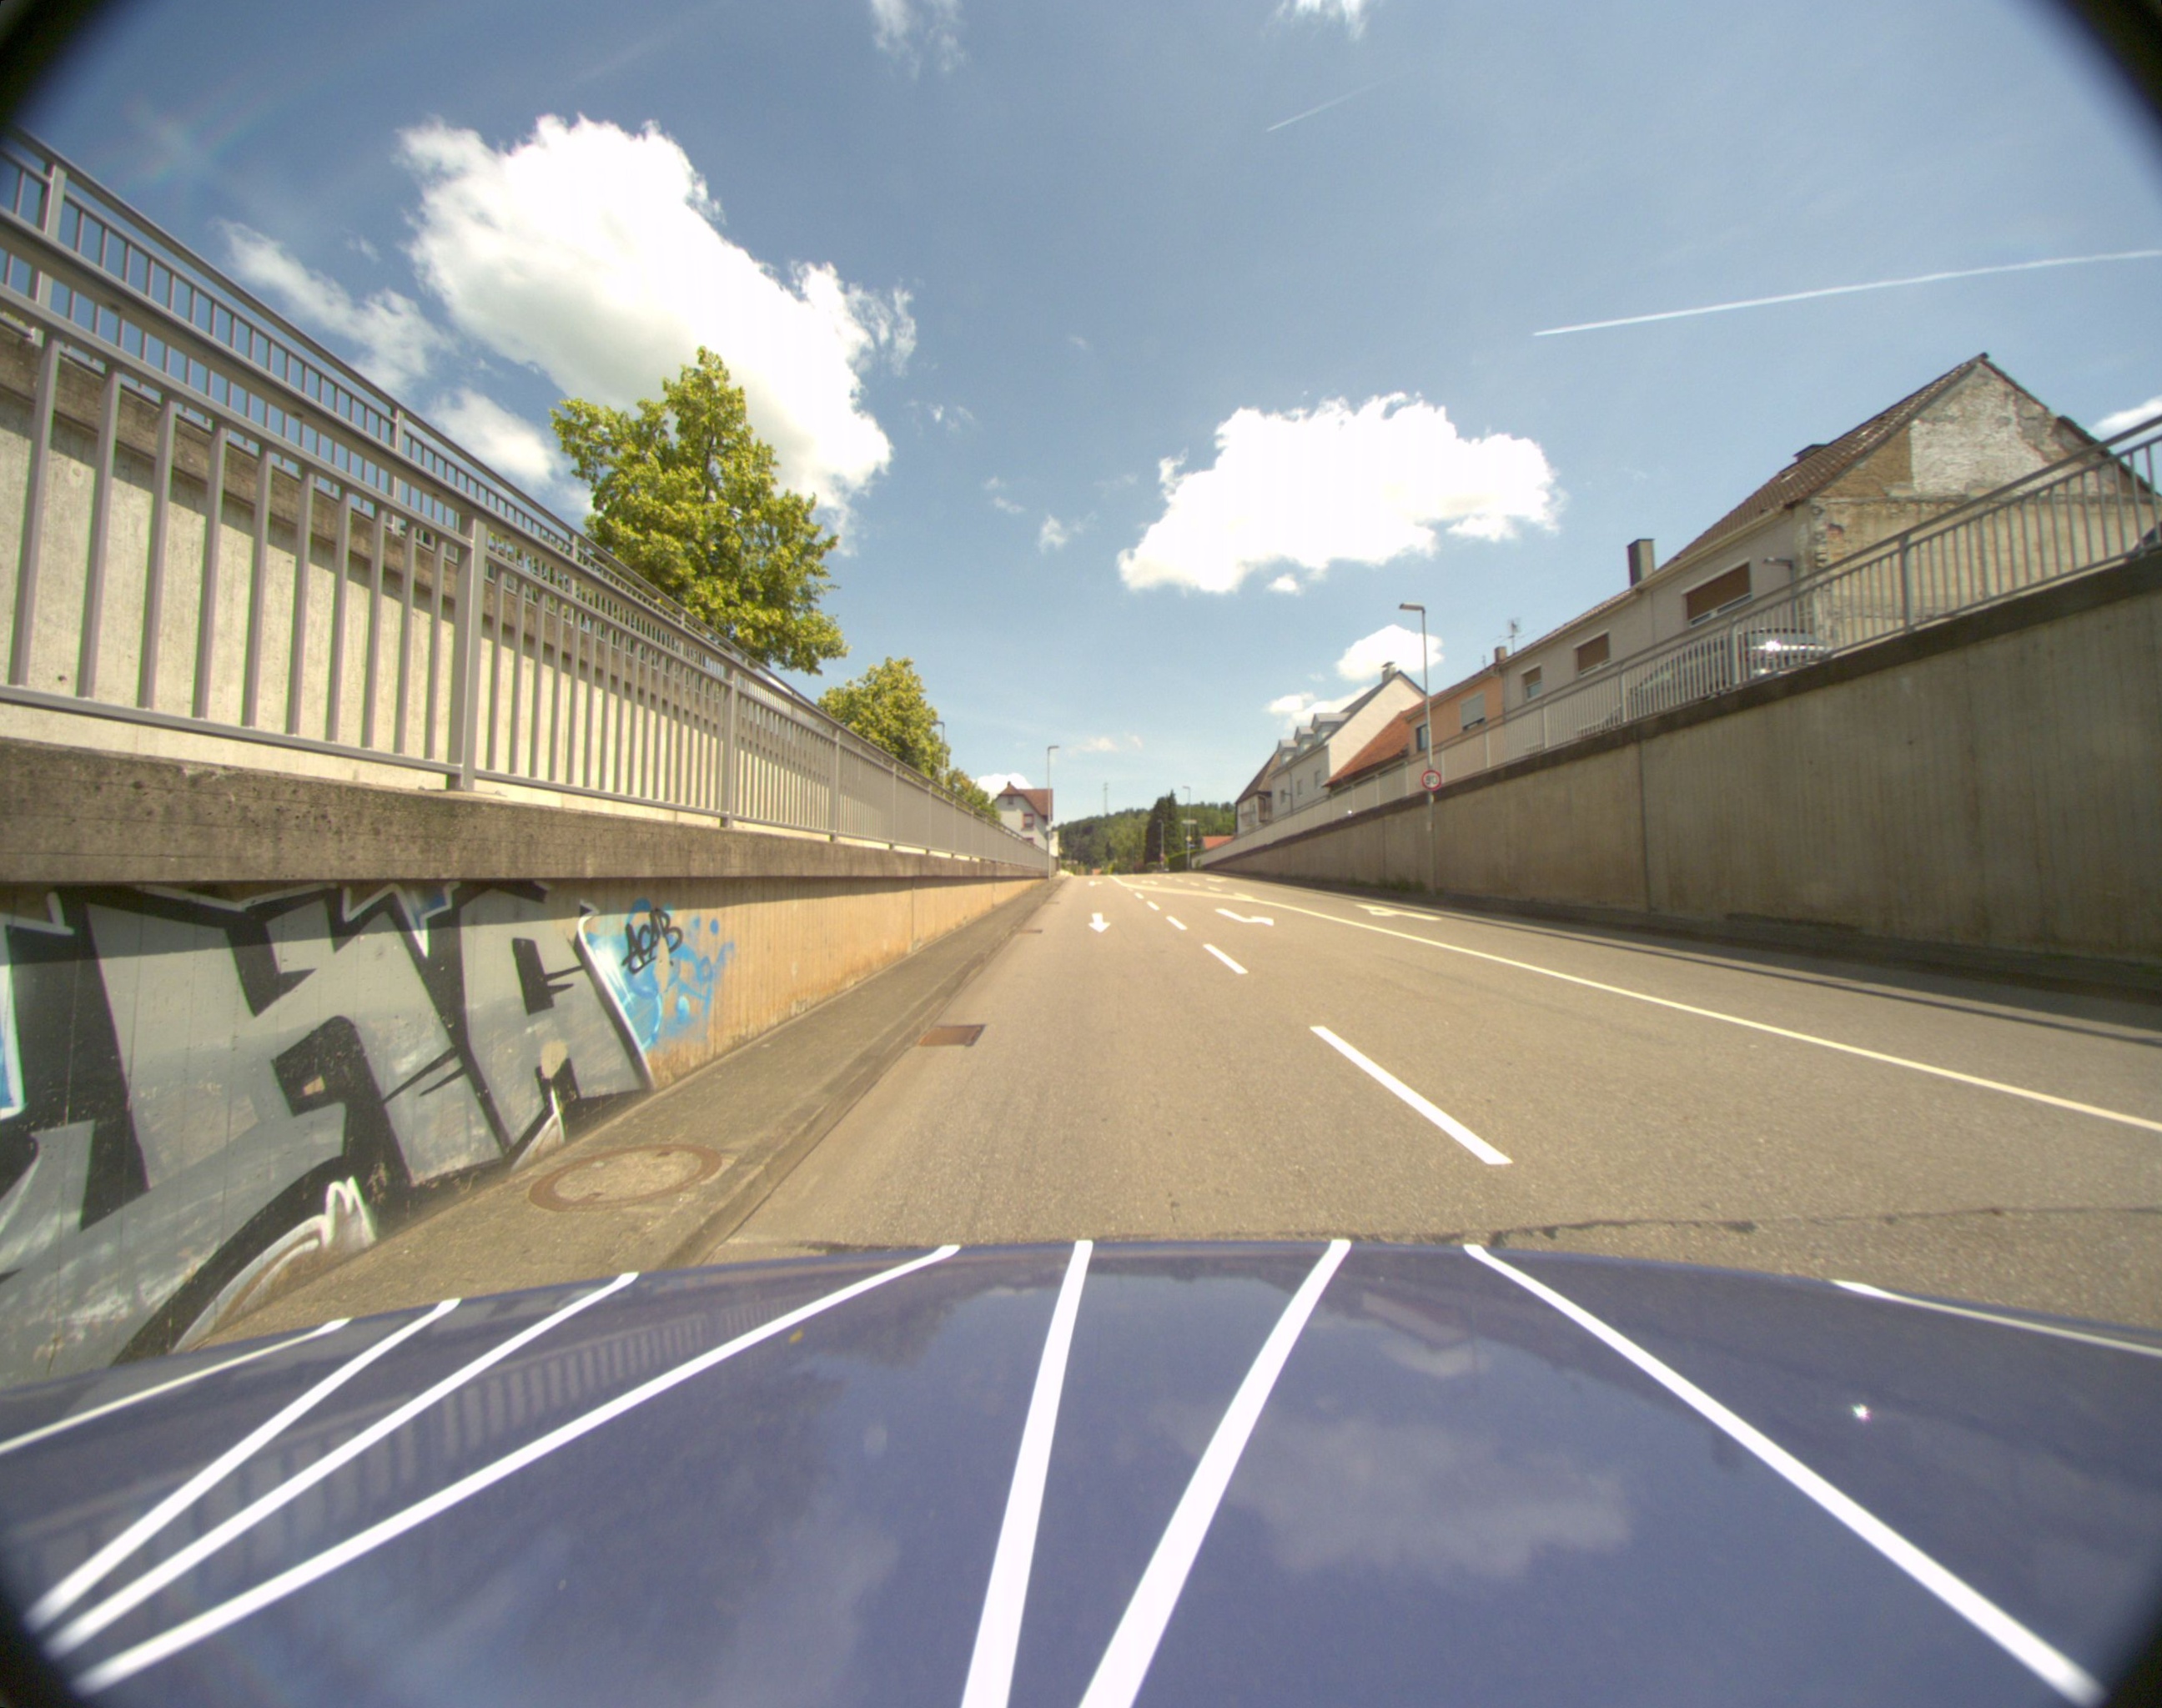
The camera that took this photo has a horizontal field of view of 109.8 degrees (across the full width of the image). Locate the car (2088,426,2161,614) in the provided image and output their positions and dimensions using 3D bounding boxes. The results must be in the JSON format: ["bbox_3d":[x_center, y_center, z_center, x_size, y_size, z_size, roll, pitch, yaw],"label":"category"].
[{"bbox_3d":[11.732,-3.500,5.998,1.827,1.695,4.223,-2,-2,-1],"label":"car"}]

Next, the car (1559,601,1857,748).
[{"bbox_3d":[11.291,-3.142,14.202,1.803,1.515,4.394,-2,-2,-1],"label":"car"}]

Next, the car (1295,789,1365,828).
[{"bbox_3d":[11.853,-2.112,36.478,1.790,1.396,4.394,-2,-2,-1],"label":"car"}]
